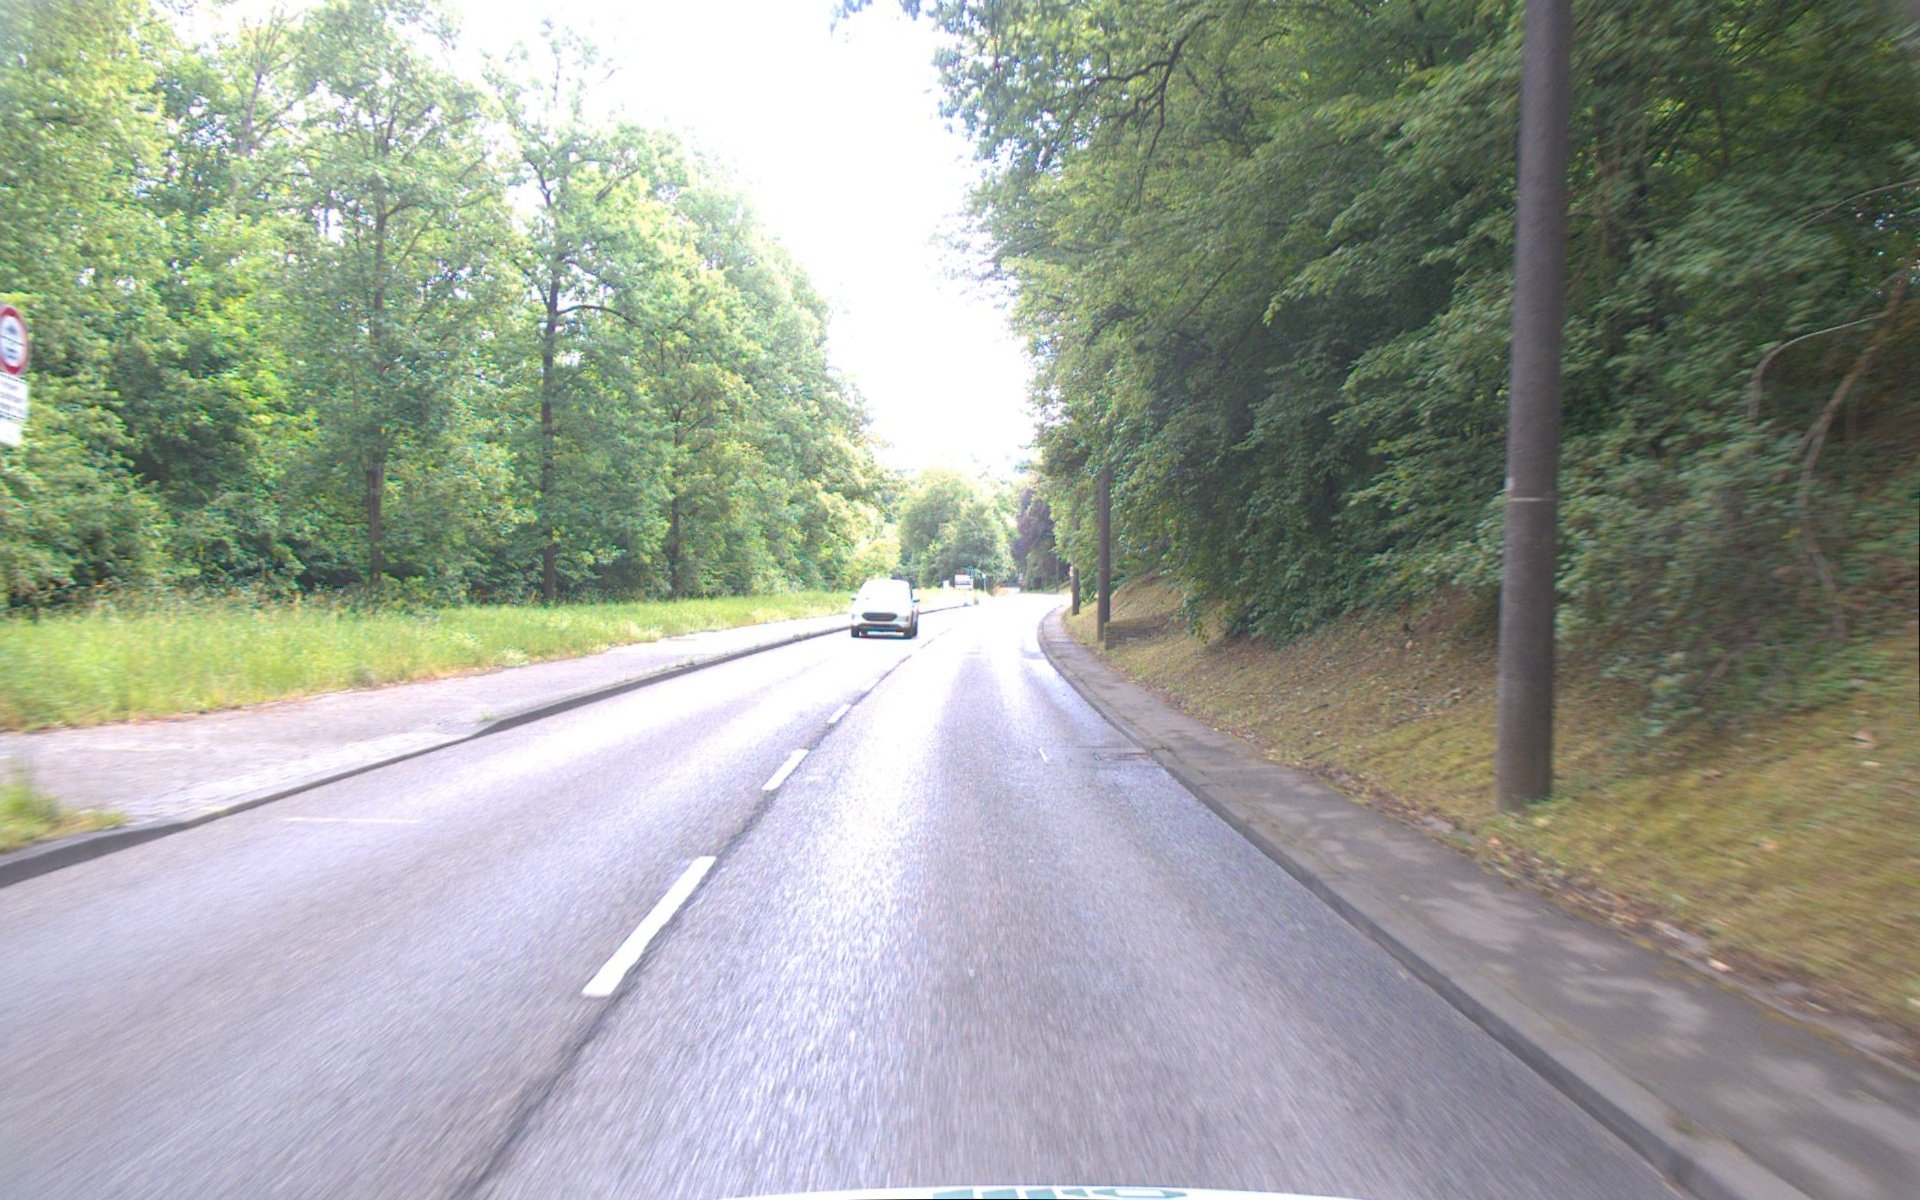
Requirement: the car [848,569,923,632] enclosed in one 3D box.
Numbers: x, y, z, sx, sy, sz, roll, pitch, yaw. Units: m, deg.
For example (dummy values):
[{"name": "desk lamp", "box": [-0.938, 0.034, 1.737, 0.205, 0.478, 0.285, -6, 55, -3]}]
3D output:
[{"name": "car", "box": [-2.189, 0.024, 50.067, 1.952, 1.784, 4.782, 1, 0, 1]}]
